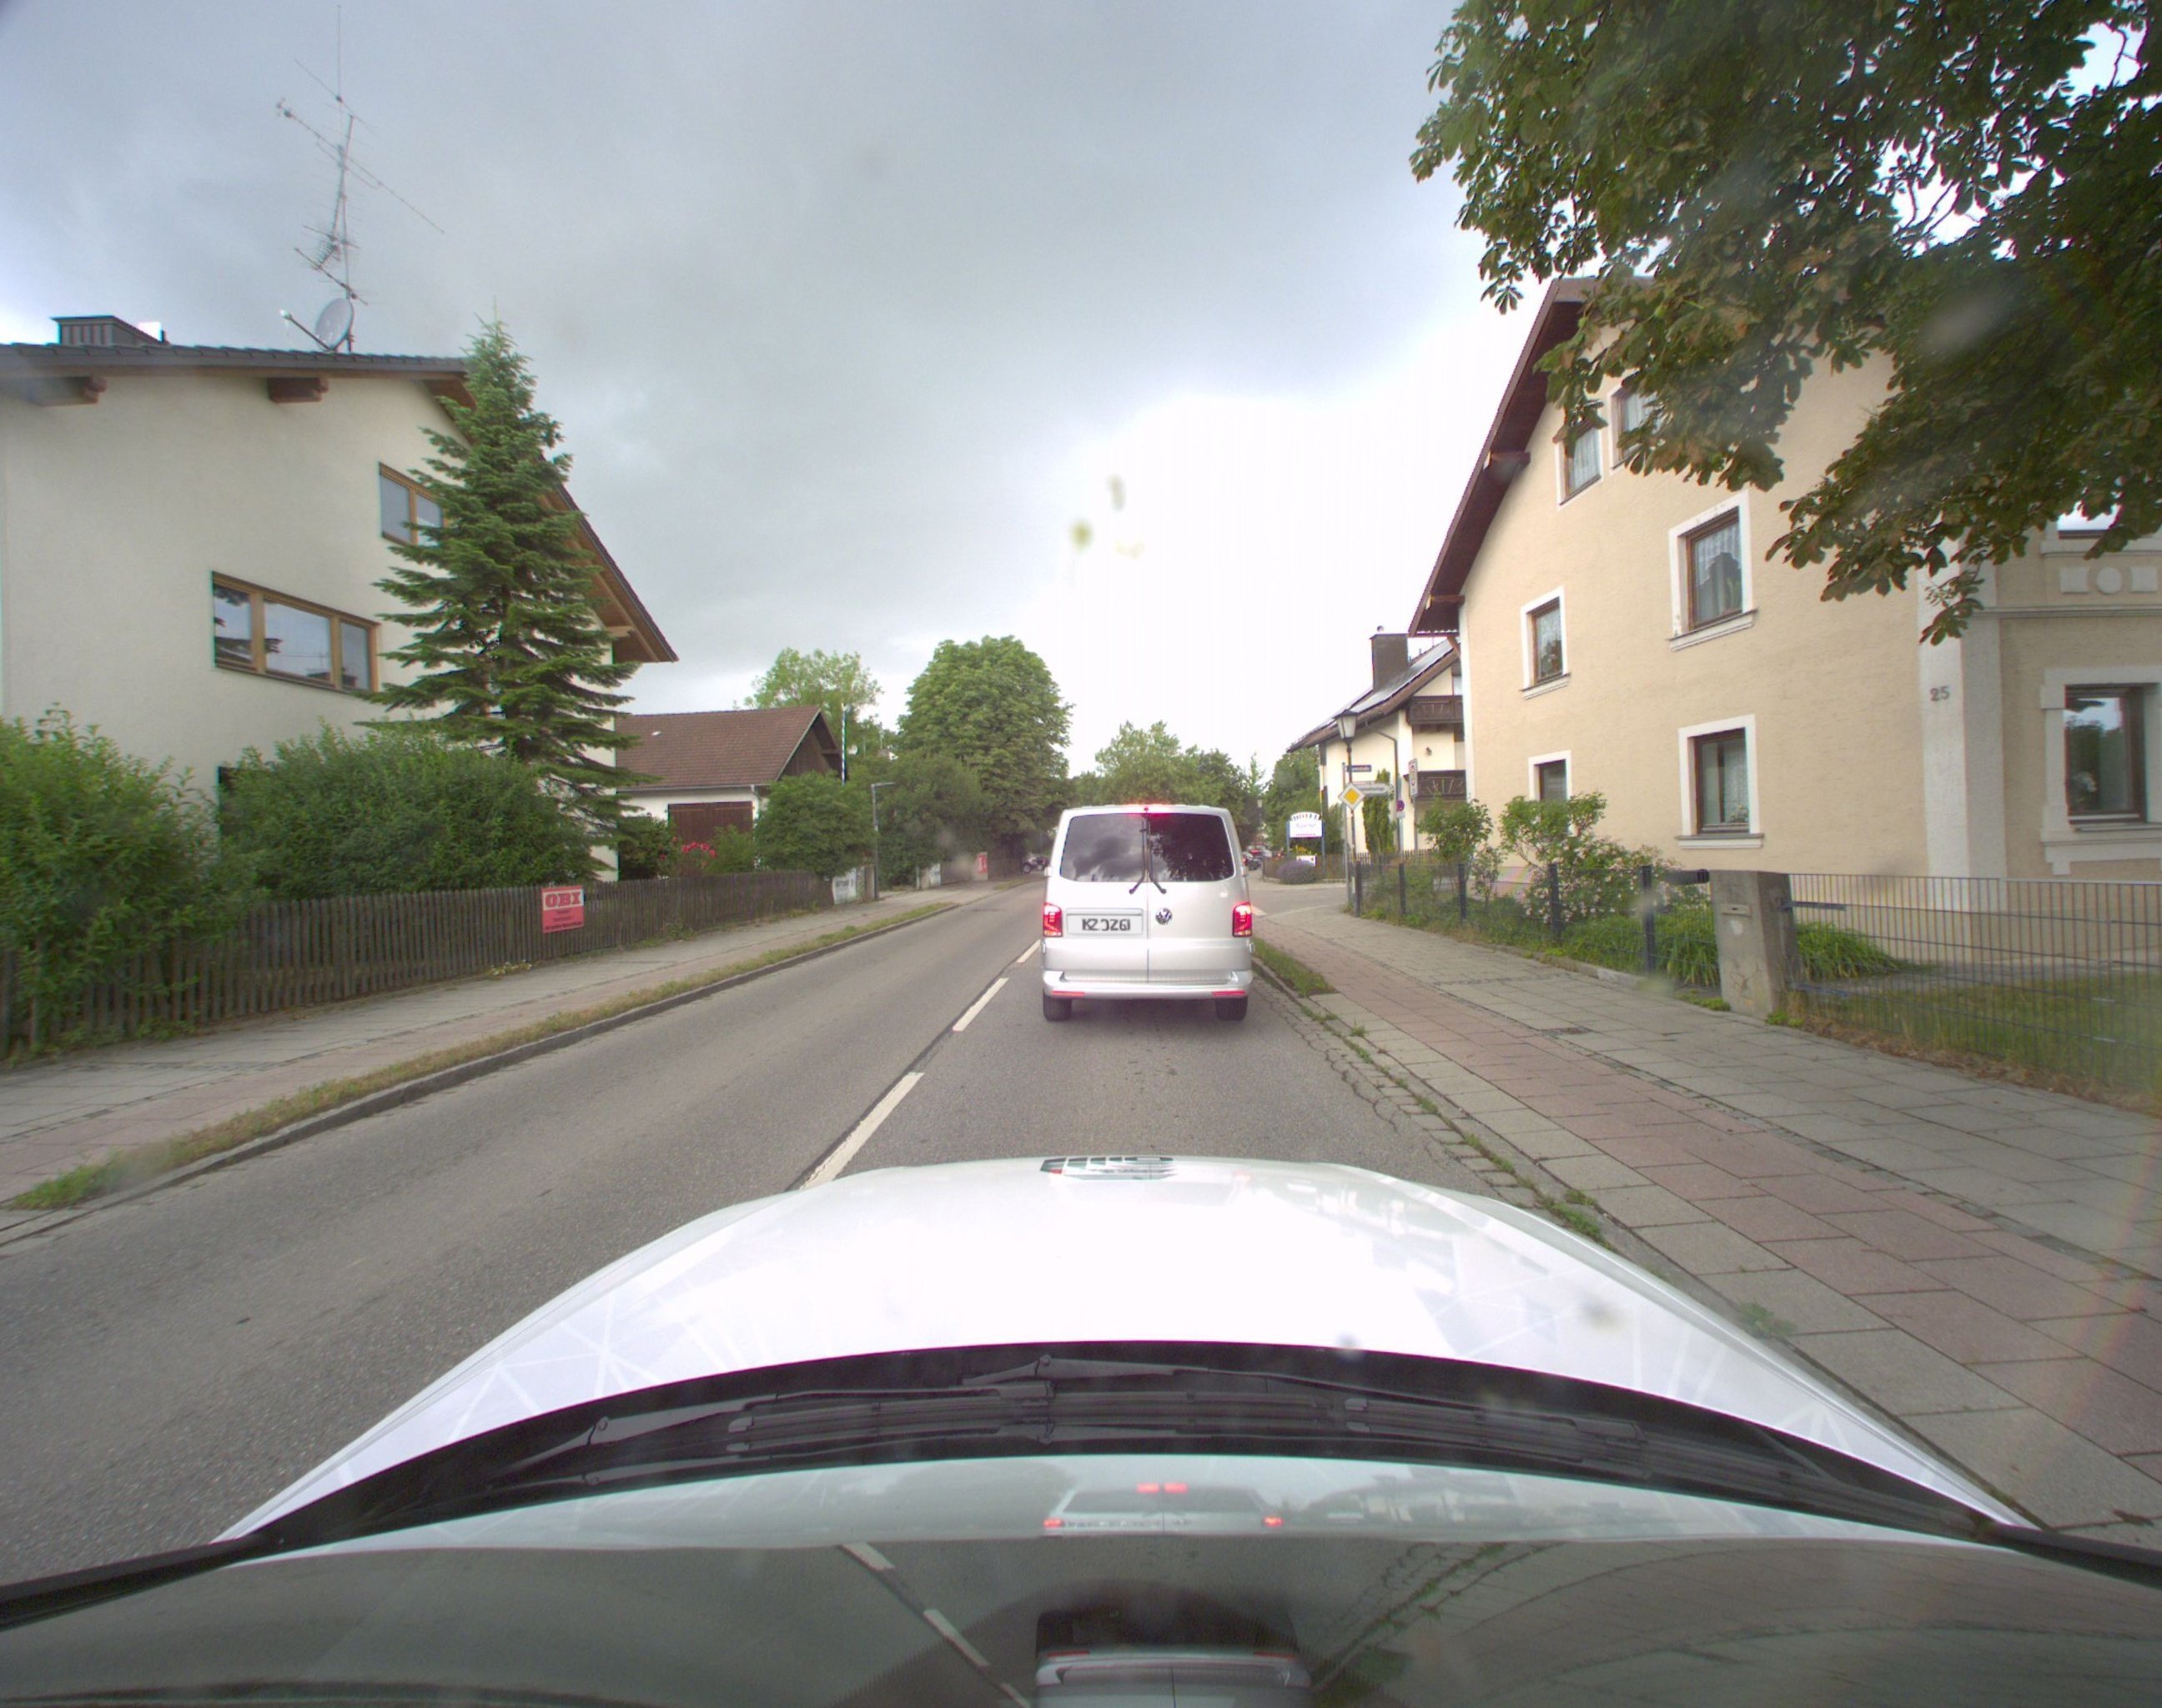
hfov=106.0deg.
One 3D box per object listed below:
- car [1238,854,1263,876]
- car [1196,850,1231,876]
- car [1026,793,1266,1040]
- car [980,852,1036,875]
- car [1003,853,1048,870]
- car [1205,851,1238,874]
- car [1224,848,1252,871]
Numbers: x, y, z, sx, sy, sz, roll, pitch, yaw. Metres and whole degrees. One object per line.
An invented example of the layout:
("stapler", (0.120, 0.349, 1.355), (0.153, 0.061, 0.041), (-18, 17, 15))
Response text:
("car", (15.134, 0.941, 72.421), (1.867, 1.825, 3.937), (-2, 0, 16))
("car", (8.561, 0.530, 52.281), (1.868, 1.535, 3.935), (-2, 0, 14))
("car", (0.612, 0.507, 8.532), (1.874, 1.940, 3.923), (-2, 0, 3))
("car", (-5.306, 0.680, 59.210), (3.982, 1.486, 1.996), (-1, 0, -7))
("car", (-4.720, 0.607, 69.287), (3.748, 1.346, 1.579), (-1, 0, -9))
("car", (9.865, 0.568, 57.067), (1.867, 1.535, 3.937), (-2, 0, 16))
("car", (12.689, 0.405, 65.742), (1.867, 1.748, 4.096), (-2, 0, 14))
